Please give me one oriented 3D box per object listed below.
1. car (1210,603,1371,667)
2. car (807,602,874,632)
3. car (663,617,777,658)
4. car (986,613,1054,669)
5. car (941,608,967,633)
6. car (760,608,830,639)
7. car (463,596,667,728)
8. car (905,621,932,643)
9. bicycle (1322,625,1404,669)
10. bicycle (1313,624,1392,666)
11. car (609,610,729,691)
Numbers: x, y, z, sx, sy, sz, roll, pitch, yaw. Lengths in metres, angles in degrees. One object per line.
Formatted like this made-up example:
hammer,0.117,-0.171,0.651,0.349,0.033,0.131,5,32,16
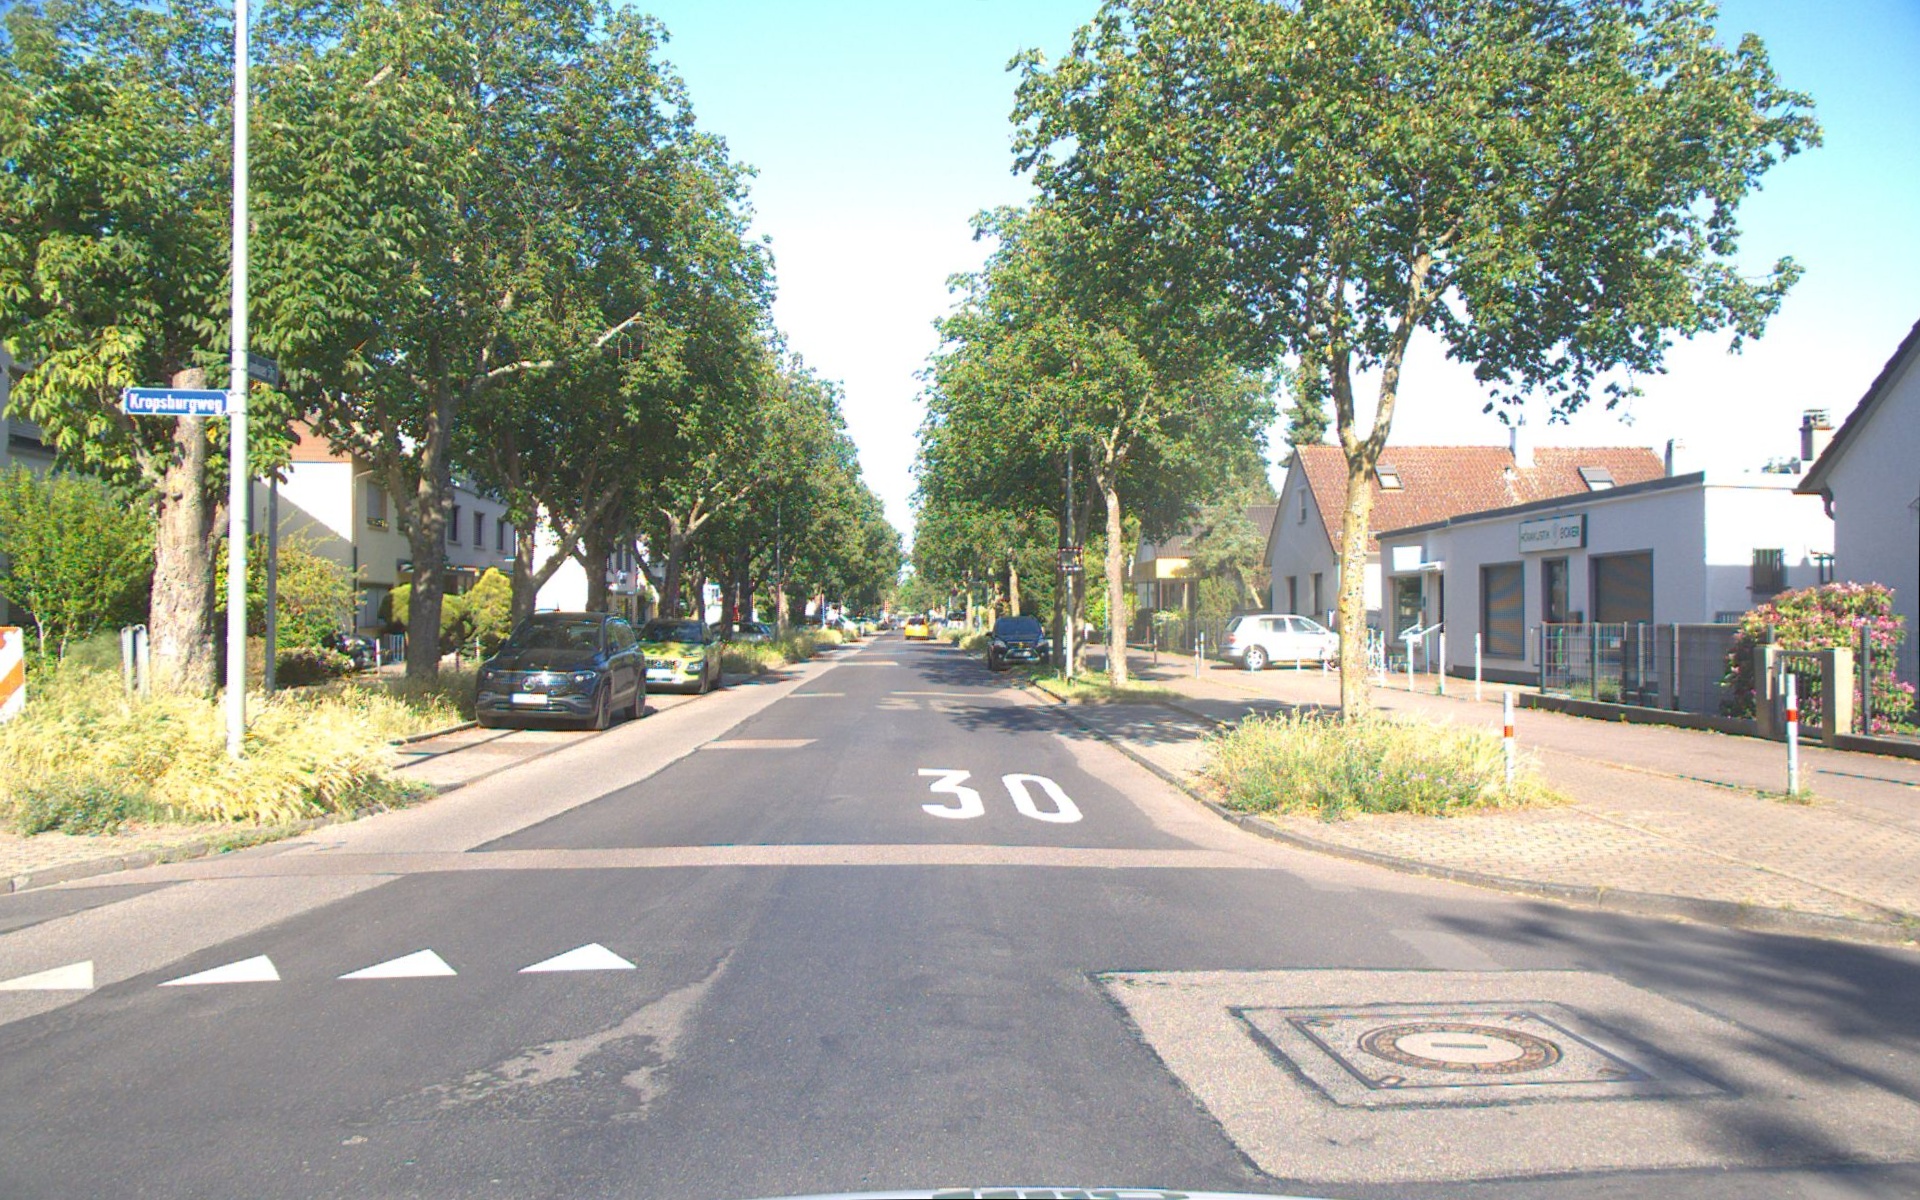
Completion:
car,8.933,0.936,44.906,3.908,1.514,1.901,-2,1,-3
car,-9.696,1.393,134.552,5.389,2.287,2.515,1,1,-4
car,-9.972,1.564,68.998,4.463,1.537,1.840,1,1,-2
car,1.883,1.294,52.893,1.816,1.654,4.467,-2,-1,-2
car,-0.478,1.568,125.786,1.864,1.805,4.299,1,-1,-1
car,-10.617,1.494,106.440,4.459,1.796,1.997,1,1,-7
car,-5.834,0.910,25.065,1.914,1.757,4.873,1,-1,-1
car,-3.009,2.301,119.919,1.849,1.505,3.887,2,-1,-1
bicycle,10.181,1.187,41.847,1.919,1.016,0.576,-2,1,-4
bicycle,10.157,1.167,42.833,1.885,1.016,0.576,-2,1,-4
car,-6.350,1.111,36.565,1.899,1.637,4.382,1,-1,-1
